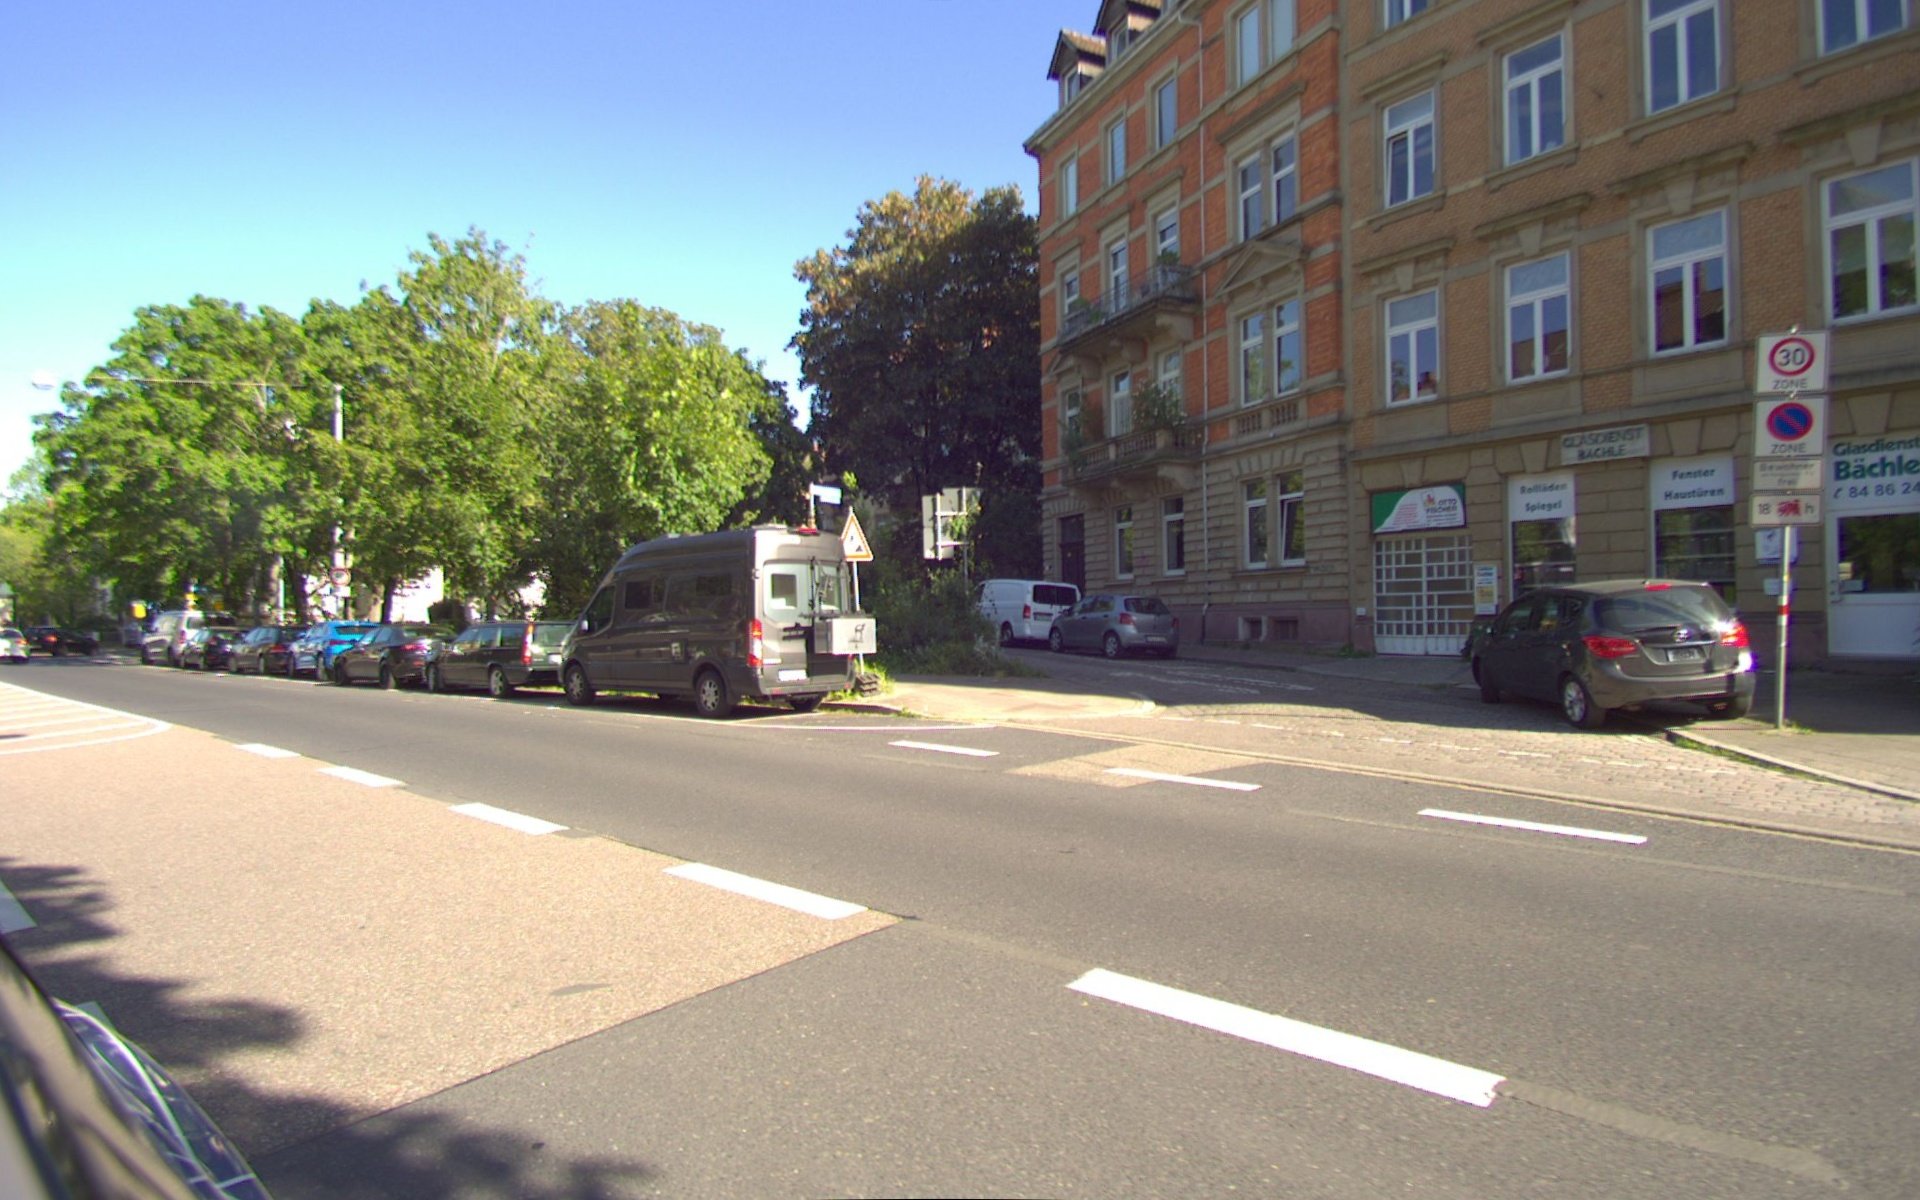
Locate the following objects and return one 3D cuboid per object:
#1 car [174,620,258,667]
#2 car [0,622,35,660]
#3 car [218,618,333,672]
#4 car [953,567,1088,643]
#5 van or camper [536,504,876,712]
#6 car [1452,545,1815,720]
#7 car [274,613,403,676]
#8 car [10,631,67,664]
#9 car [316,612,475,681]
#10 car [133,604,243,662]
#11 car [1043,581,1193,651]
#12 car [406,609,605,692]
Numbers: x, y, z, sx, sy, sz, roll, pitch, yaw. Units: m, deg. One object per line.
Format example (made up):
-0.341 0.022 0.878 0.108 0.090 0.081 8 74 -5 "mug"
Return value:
-25.449 1.455 34.567 3.956 1.513 1.449 -1 -2 41 "car"
-38.265 1.609 40.081 4.222 1.430 1.898 -1 -1 41 "car"
-20.532 1.311 30.294 4.265 1.493 1.575 0 -1 38 "car"
1.571 0.131 28.223 1.833 1.928 4.467 1 0 -25 "car"
-4.280 0.164 16.277 6.084 2.760 2.193 -2 -1 41 "van or camper"
7.872 0.321 12.422 1.976 1.682 4.135 -4 0 7 "car"
-16.782 1.165 27.249 4.557 1.550 1.761 -2 -2 42 "car"
-44.551 2.276 48.917 4.130 1.461 1.576 -1 -1 41 "car"
-12.926 1.037 23.063 4.402 1.424 1.762 -2 -3 41 "car"
-28.863 1.241 37.796 4.867 2.052 1.965 -1 -3 37 "car"
3.648 0.357 23.988 1.833 1.524 3.541 1 0 -25 "car"
-9.060 0.956 19.996 4.659 1.468 1.677 -1 -2 39 "car"
